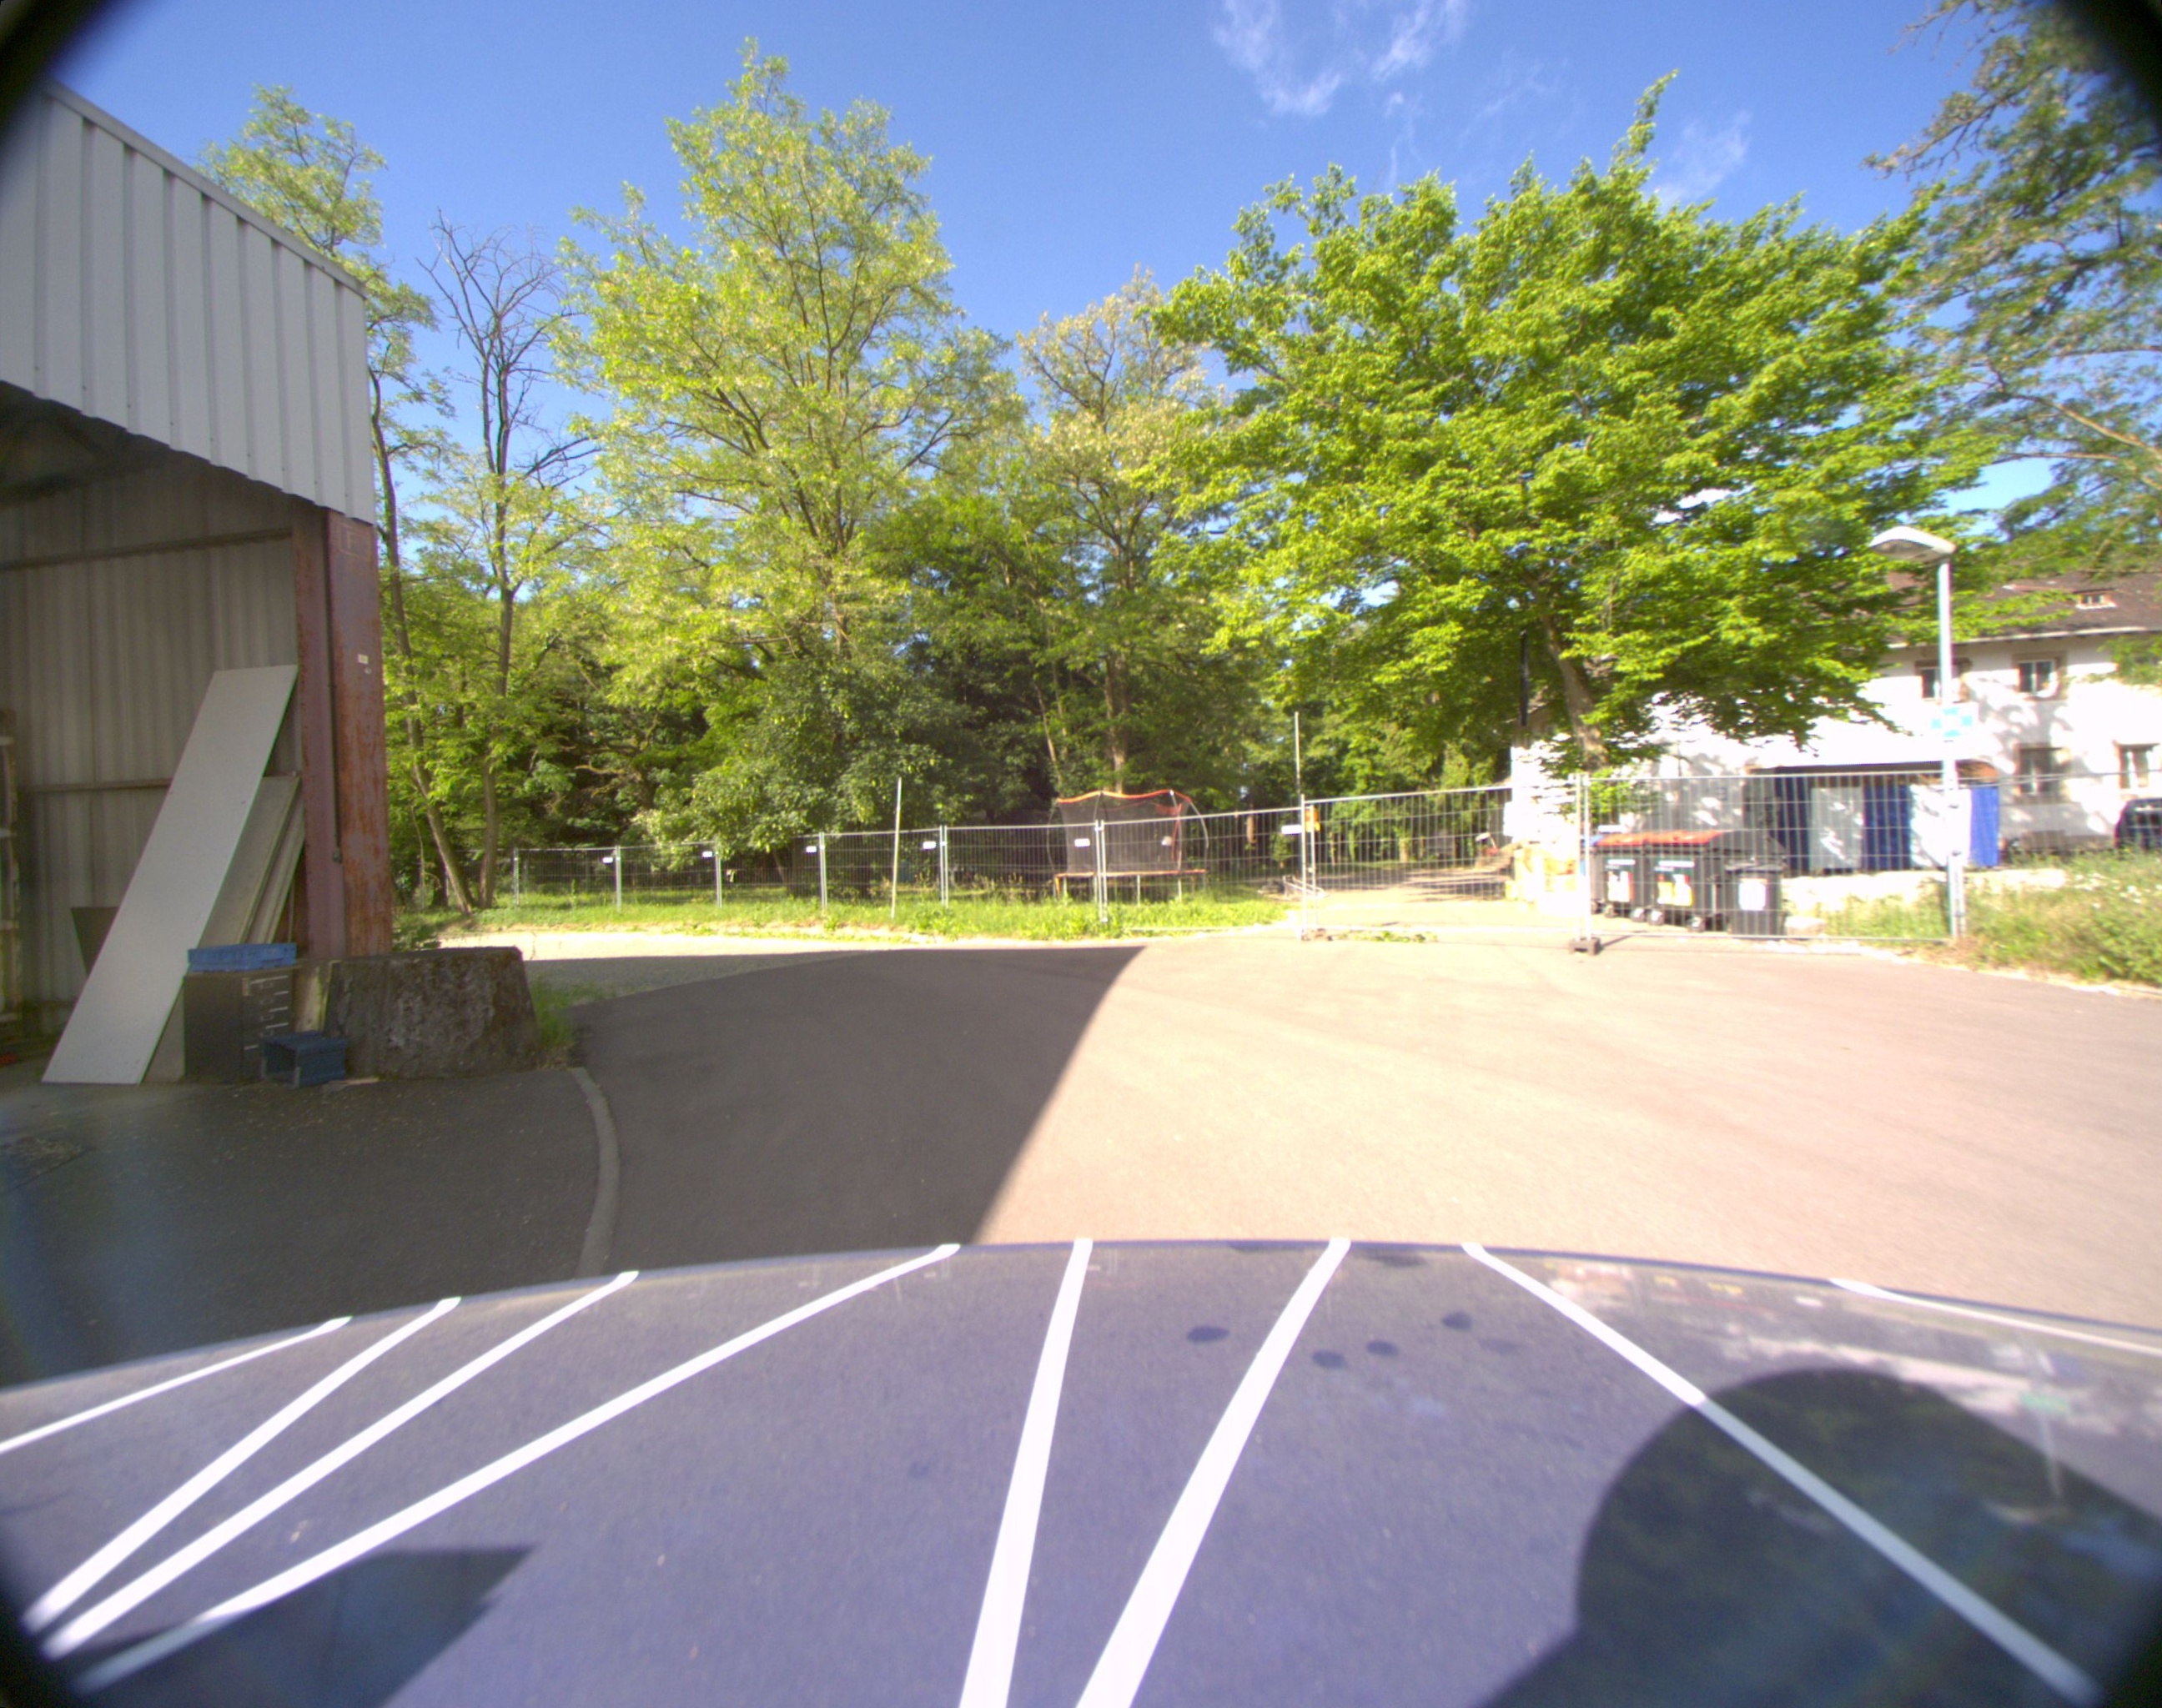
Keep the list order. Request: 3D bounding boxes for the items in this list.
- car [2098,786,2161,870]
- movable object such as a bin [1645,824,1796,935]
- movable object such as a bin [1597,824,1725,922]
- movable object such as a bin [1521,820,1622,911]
[{"bbox_3d":[27.098,-0.621,17.151,2.056,2.001,4.876,-4,2,7],"label":"car"},{"bbox_3d":[9.073,0.333,10.860,1.092,1.424,1.231,-4,1,4],"label":"movable object such as a bin"},{"bbox_3d":[9.248,0.282,12.182,1.092,1.431,1.231,-4,1,4],"label":"movable object such as a bin"},{"bbox_3d":[9.082,0.185,14.131,1.092,1.588,1.230,-3,3,4],"label":"movable object such as a bin"}]
